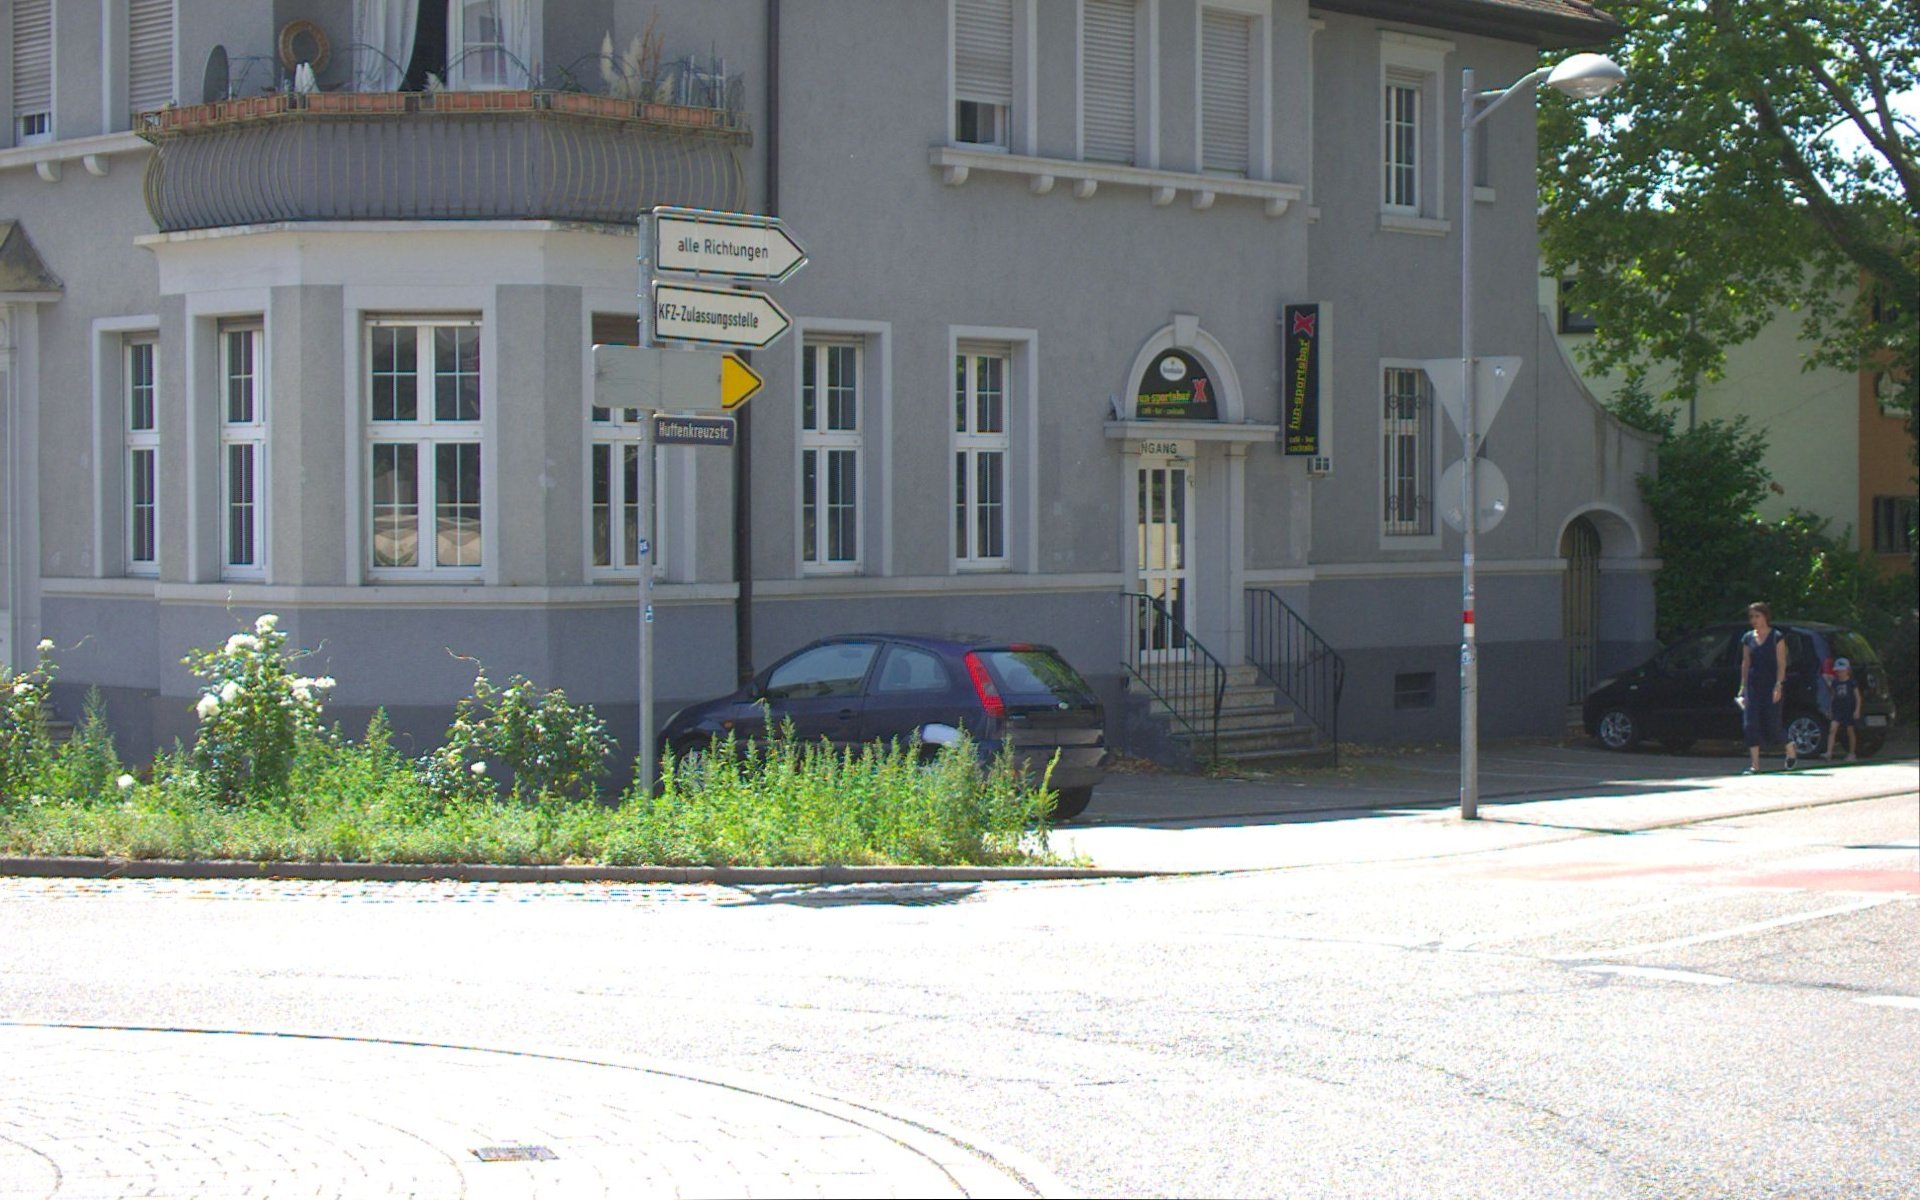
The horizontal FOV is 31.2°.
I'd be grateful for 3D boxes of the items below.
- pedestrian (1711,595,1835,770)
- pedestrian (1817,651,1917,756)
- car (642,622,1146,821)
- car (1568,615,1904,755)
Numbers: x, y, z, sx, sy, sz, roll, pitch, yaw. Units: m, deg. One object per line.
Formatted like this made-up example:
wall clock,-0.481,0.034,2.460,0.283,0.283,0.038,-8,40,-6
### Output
pedestrian,8.271,0.824,34.942,0.873,1.736,1.110,0,-1,35
pedestrian,9.934,1.128,37.650,0.755,1.118,0.895,0,-1,40
car,-0.561,0.910,27.214,3.789,1.455,1.720,0,0,39
car,8.975,0.949,39.855,3.389,1.541,1.720,0,0,39
